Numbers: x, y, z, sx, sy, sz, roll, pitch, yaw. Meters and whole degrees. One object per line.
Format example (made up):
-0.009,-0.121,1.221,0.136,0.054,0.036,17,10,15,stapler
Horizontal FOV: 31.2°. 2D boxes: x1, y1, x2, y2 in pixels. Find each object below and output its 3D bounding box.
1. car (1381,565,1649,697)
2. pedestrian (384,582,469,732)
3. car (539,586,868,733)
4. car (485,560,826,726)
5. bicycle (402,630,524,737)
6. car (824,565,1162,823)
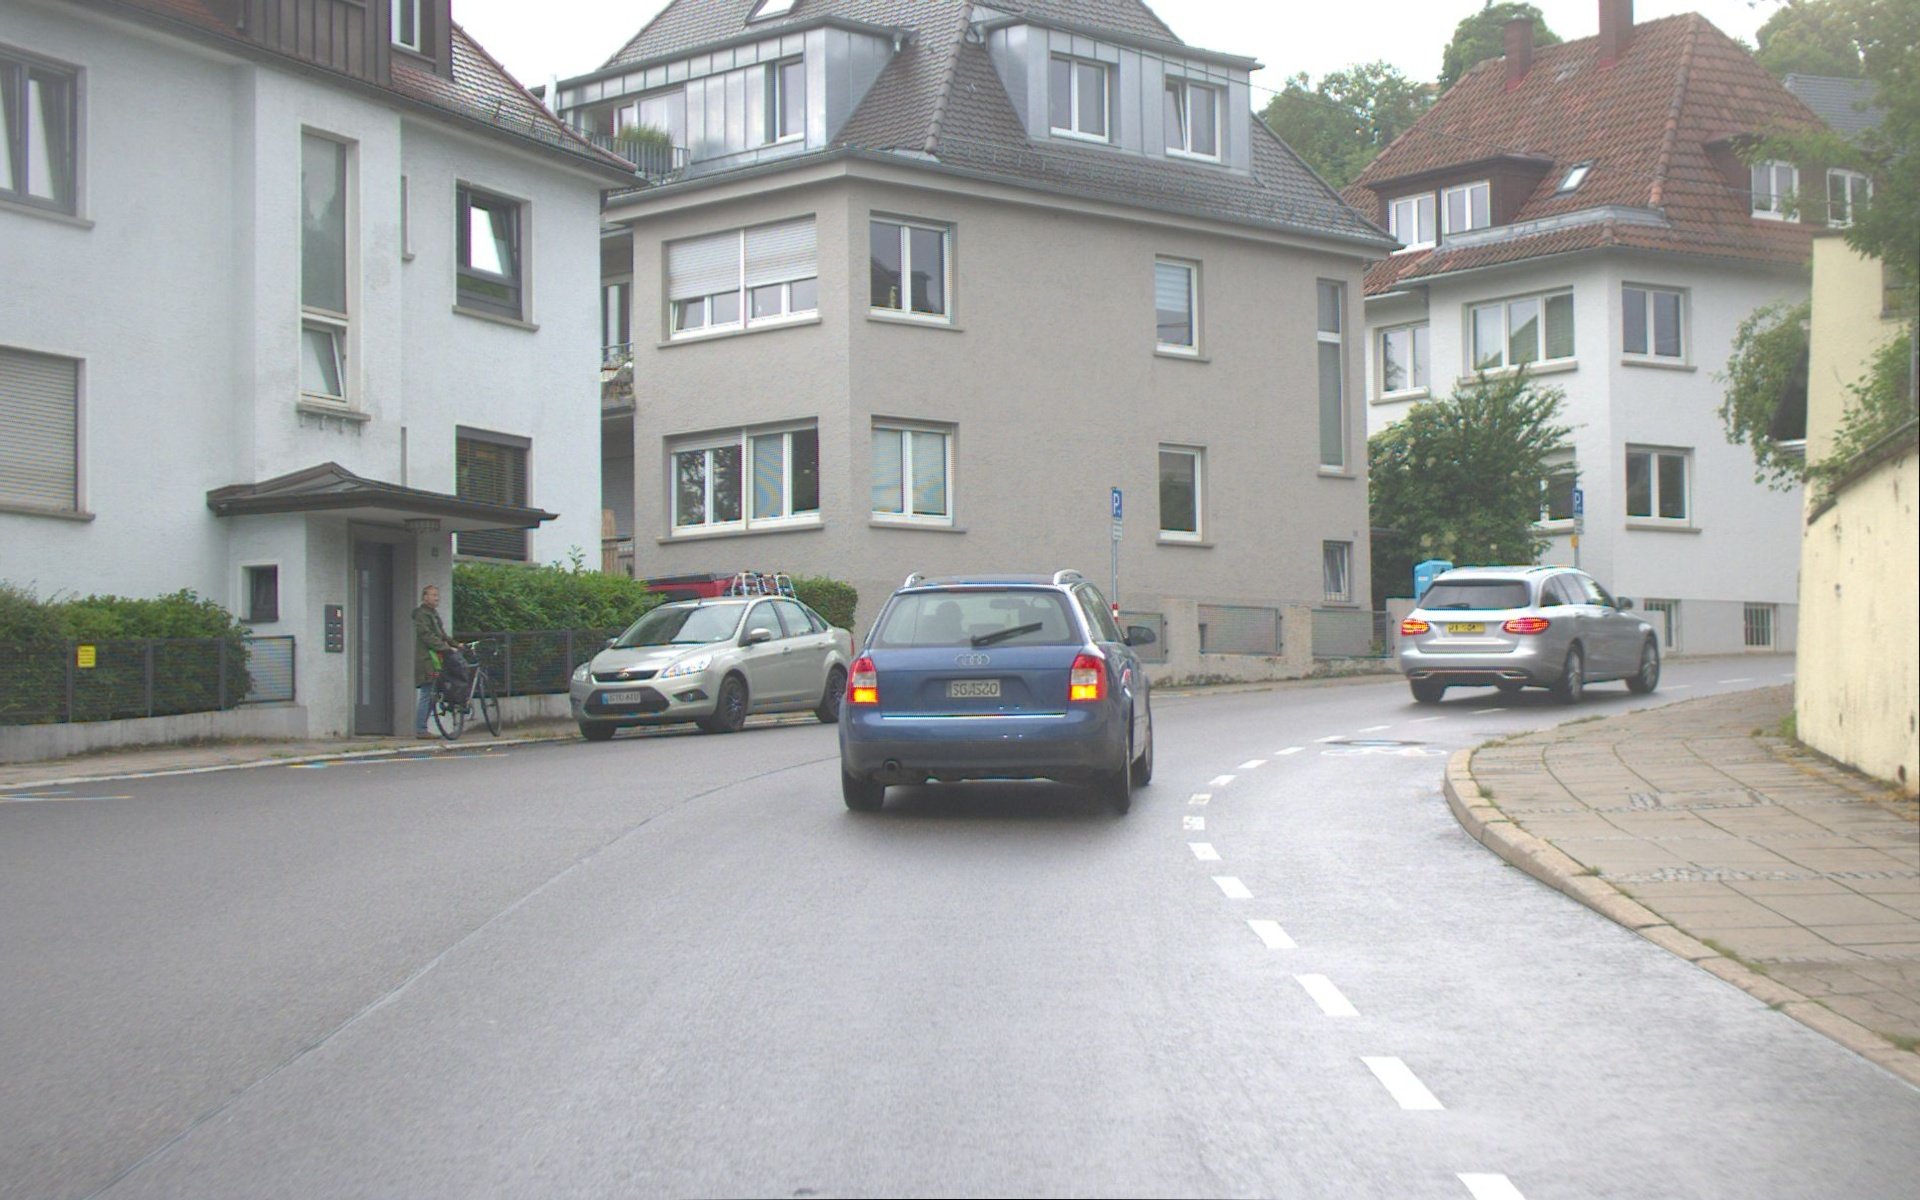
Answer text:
6.117,0.356,37.531,1.814,1.356,3.994,0,-1,26,car
-5.711,0.603,36.821,0.493,1.572,0.947,-1,0,19,pedestrian
-2.725,0.612,37.585,1.838,1.420,4.225,-3,0,22,car
-4.105,0.581,46.307,3.993,1.817,1.997,-6,-2,28,car
-5.279,0.874,36.620,0.456,1.063,1.920,-1,0,19,bicycle
0.305,0.513,21.666,1.811,1.434,4.081,1,1,5,car
